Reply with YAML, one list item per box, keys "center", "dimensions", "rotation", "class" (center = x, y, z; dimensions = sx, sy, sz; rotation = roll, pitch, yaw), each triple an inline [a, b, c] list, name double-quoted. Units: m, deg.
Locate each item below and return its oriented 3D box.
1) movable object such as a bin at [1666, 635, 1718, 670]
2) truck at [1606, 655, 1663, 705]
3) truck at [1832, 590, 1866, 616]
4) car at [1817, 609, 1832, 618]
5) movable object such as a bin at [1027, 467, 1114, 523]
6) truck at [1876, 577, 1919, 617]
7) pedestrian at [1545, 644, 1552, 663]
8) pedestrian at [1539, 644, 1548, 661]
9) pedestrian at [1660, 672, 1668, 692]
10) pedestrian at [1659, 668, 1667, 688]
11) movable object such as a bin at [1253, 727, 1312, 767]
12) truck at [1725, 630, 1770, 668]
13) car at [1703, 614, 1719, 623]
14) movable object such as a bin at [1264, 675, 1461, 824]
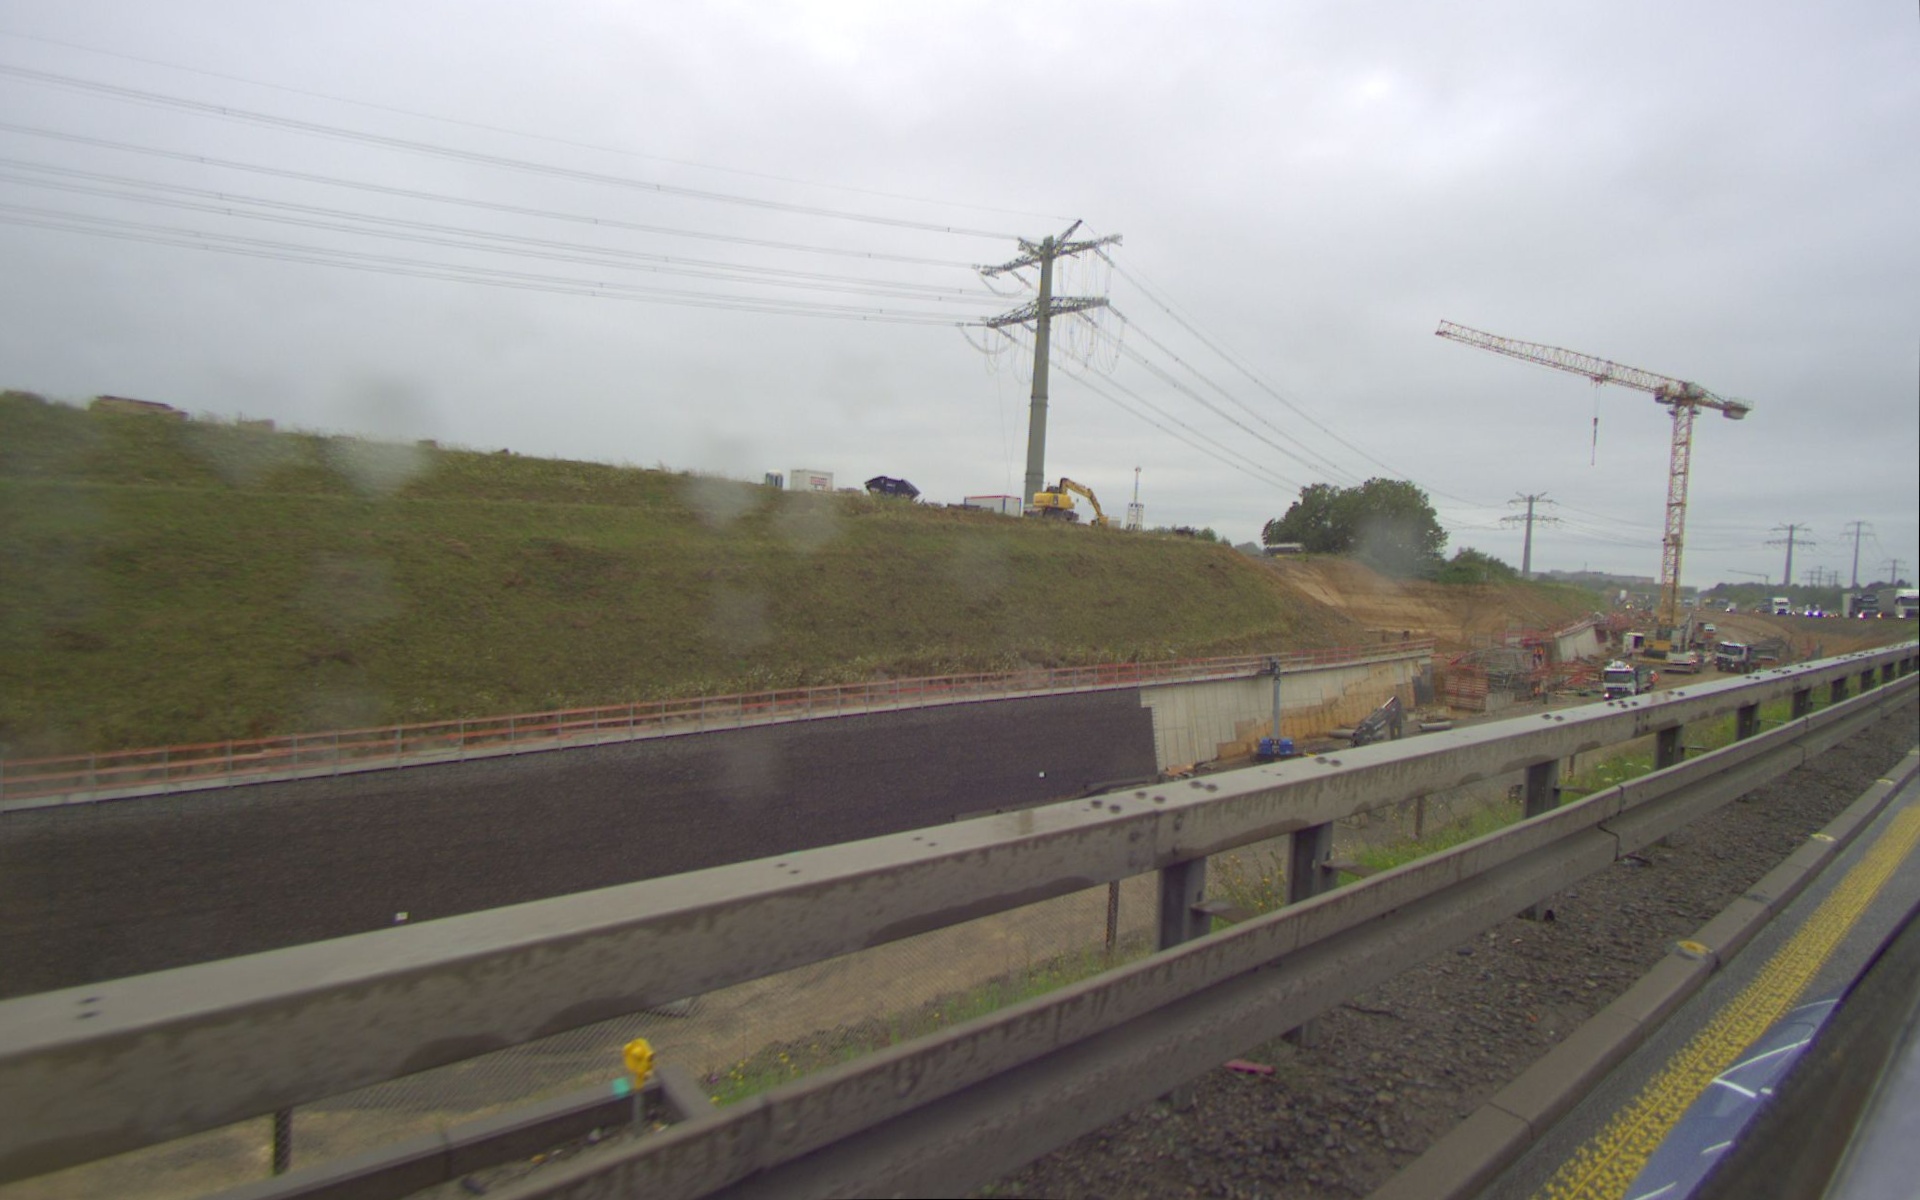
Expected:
- center: [84.233, 5.954, 116.395]
  dimensions: [6.537, 3.467, 3.514]
  rotation: [-1, 1, -41]
  class: "movable object such as a bin"
- center: [61.401, 7.169, 92.044]
  dimensions: [2.704, 3.656, 8.932]
  rotation: [3, 3, 44]
  class: "truck"
- center: [140.606, 0.519, 160.144]
  dimensions: [3.529, 3.943, 8.219]
  rotation: [-1, -1, 38]
  class: "truck"
- center: [143.746, 2.257, 168.239]
  dimensions: [1.782, 1.445, 3.942]
  rotation: [-1, -1, 40]
  class: "car"
- center: [9.966, -9.295, 90.683]
  dimensions: [8.037, 4.259, 3.104]
  rotation: [1, 1, -42]
  class: "movable object such as a bin"
- center: [111.147, -0.323, 119.117]
  dimensions: [4.301, 4.400, 13.214]
  rotation: [-1, -1, 40]
  class: "truck"
- center: [67.726, 6.127, 116.439]
  dimensions: [0.487, 2.127, 0.474]
  rotation: [-6, -4, 40]
  class: "pedestrian"
- center: [66.595, 5.976, 115.525]
  dimensions: [0.570, 1.827, 0.490]
  rotation: [-3, -3, -9]
  class: "pedestrian"
- center: [71.629, 8.313, 102.974]
  dimensions: [0.601, 1.928, 0.605]
  rotation: [3, 2, 41]
  class: "pedestrian"
- center: [71.954, 7.993, 103.574]
  dimensions: [0.601, 1.928, 0.474]
  rotation: [3, 2, 41]
  class: "pedestrian"
- center: [20.505, 9.297, 64.327]
  dimensions: [2.514, 1.936, 3.208]
  rotation: [-2, -1, 42]
  class: "movable object such as a bin"
- center: [92.066, 5.675, 118.228]
  dimensions: [3.352, 3.583, 8.770]
  rotation: [1, 3, 44]
  class: "truck"
- center: [151.715, 3.810, 204.439]
  dimensions: [2.341, 1.638, 4.791]
  rotation: [2, 2, 39]
  class: "car"
- center: [21.529, 7.494, 53.616]
  dimensions: [11.891, 5.740, 4.898]
  rotation: [-3, 1, -43]
  class: "movable object such as a bin"
